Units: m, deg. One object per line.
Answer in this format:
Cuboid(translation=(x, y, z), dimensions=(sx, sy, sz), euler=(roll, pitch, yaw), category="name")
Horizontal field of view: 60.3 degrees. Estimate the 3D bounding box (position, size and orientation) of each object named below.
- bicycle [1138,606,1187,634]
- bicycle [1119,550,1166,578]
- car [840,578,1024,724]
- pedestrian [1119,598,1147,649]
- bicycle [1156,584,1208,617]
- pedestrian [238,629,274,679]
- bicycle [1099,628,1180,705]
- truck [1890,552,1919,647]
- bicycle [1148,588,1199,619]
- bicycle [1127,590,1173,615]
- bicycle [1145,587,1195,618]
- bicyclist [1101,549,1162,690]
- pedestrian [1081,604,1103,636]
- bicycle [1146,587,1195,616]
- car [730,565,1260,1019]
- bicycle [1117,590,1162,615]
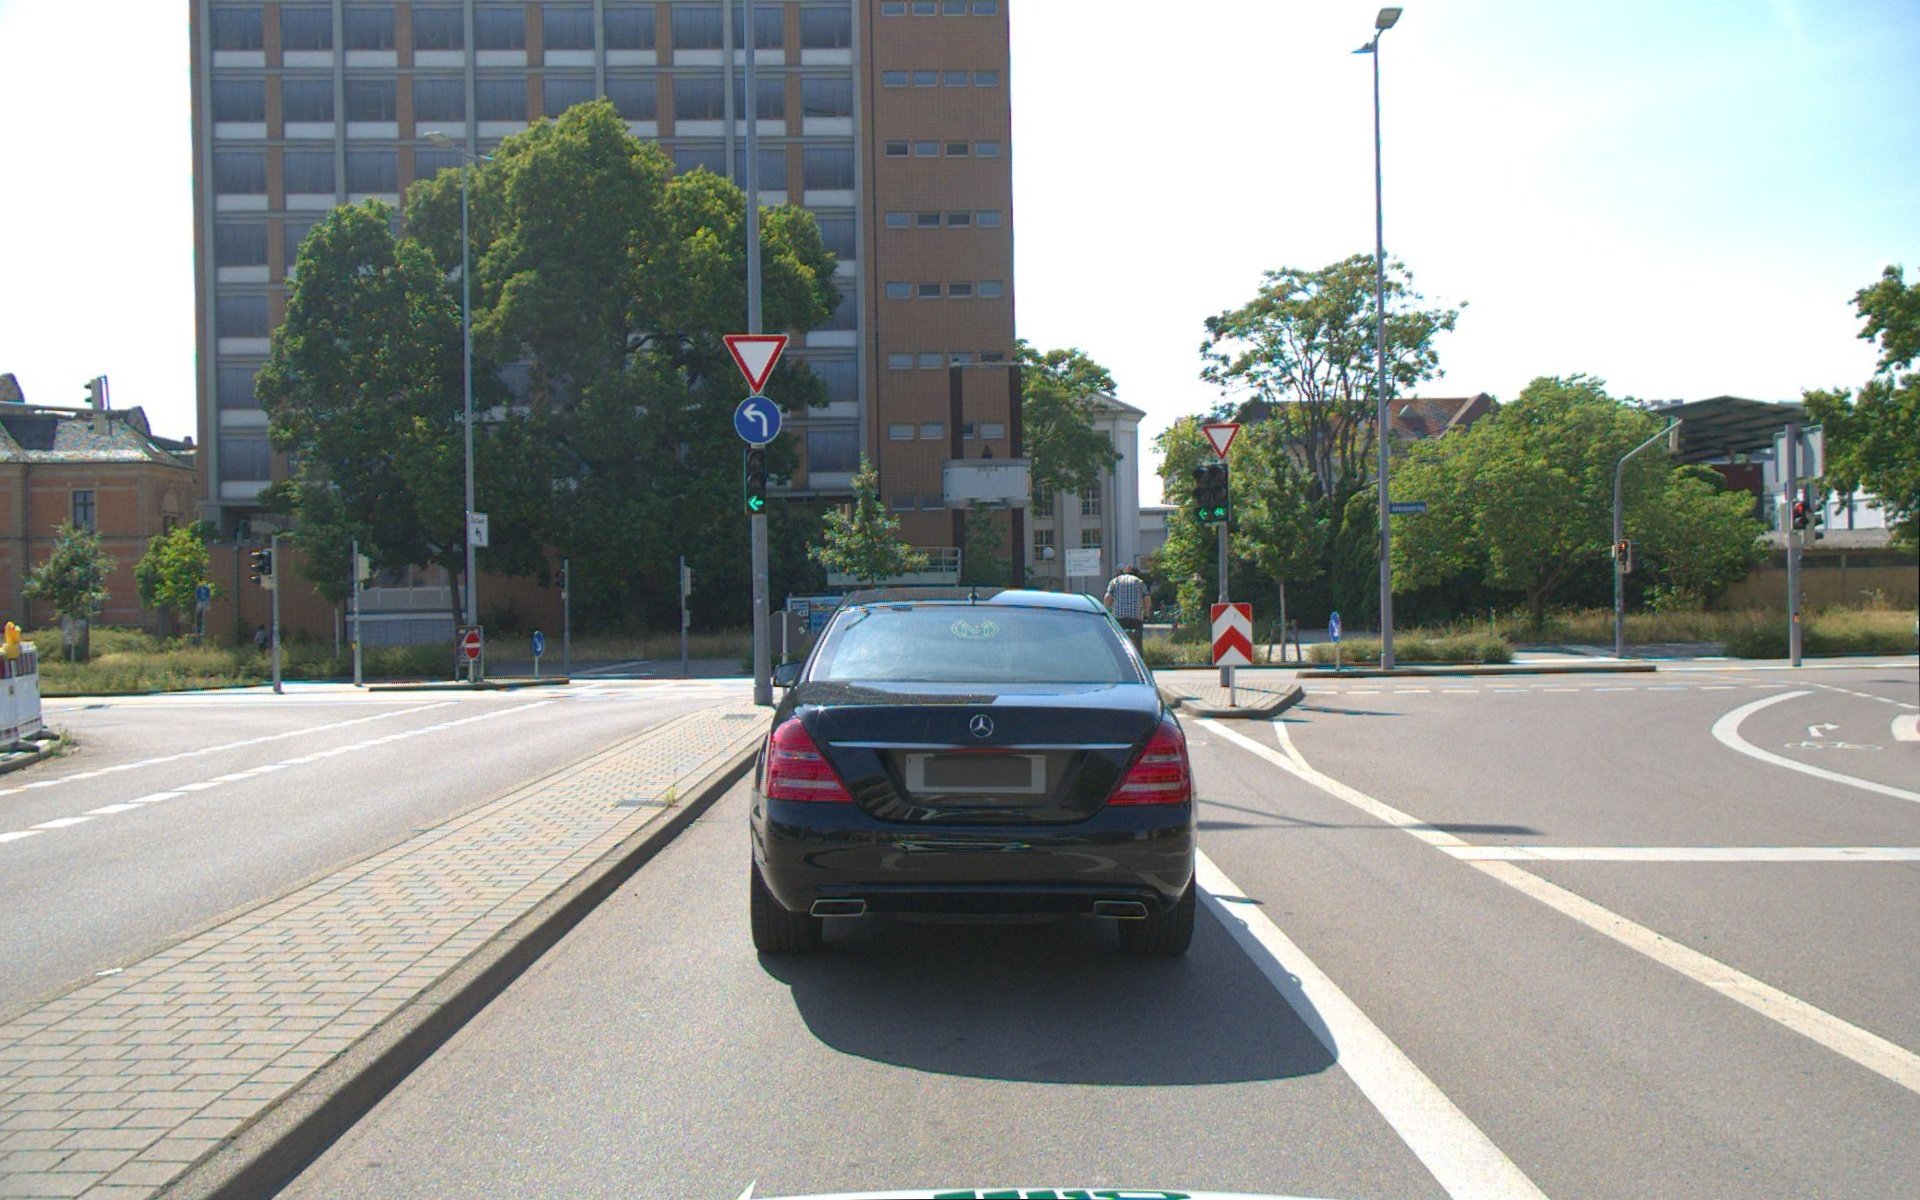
Cuboid(translation=(12.065, 1.201, 98.516), dimensions=(2.766, 1.564, 0.841), euler=(-2, 0, -2), category="bicycle")
Cuboid(translation=(11.307, -2.236, 102.723), dimensions=(2.766, 1.586, 0.841), euler=(-2, 0, -2), category="bicycle")
Cuboid(translation=(-0.324, 0.558, 19.780), dimensions=(1.953, 1.534, 3.999), euler=(1, 0, -1), category="car")
Cuboid(translation=(5.522, 0.760, 52.888), dimensions=(0.794, 1.607, 0.692), euler=(-1, -1, 1), category="pedestrian")
Cuboid(translation=(12.588, 0.037, 93.909), dimensions=(2.766, 1.775, 0.841), euler=(-2, 0, -2), category="bicycle")
Cuboid(translation=(-25.262, 1.919, 59.332), dimensions=(0.781, 1.756, 0.873), euler=(-2, -1, 22), category="pedestrian")
Cuboid(translation=(2.425, 0.882, 22.554), dimensions=(0.679, 0.963, 1.955), euler=(1, 0, -6), category="bicycle")
Cuboid(translation=(27.741, -0.123, 41.945), dimensions=(6.881, 2.397, 2.413), euler=(-2, -2, 0), category="truck")
Cuboid(translation=(12.305, 0.203, 95.382), dimensions=(2.766, 1.678, 0.841), euler=(-2, 0, -2), category="bicycle")
Cuboid(translation=(12.006, 0.147, 104.662), dimensions=(2.766, 1.526, 0.841), euler=(-2, 0, -2), category="bicycle")
Cuboid(translation=(12.235, 0.135, 96.404), dimensions=(2.766, 1.688, 0.841), euler=(-2, 1, -2), category="bicycle")
Cuboid(translation=(2.372, 0.267, 22.988), dimensions=(0.672, 1.911, 0.858), euler=(0, 0, -7), category="bicyclist")
Cuboid(translation=(5.087, 0.763, 63.679), dimensions=(0.776, 1.235, 0.758), euler=(1, 0, 6), category="pedestrian")
Cuboid(translation=(12.398, 0.107, 97.435), dimensions=(2.766, 1.615, 0.841), euler=(-2, 0, -2), category="bicycle")
Cuboid(translation=(0.074, 0.678, 8.077), dimensions=(1.821, 1.557, 4.712), euler=(1, 0, -1), category="car")
Cuboid(translation=(11.566, 0.145, 106.551), dimensions=(2.765, 1.506, 0.841), euler=(-2, 0, 0), category="bicycle")
